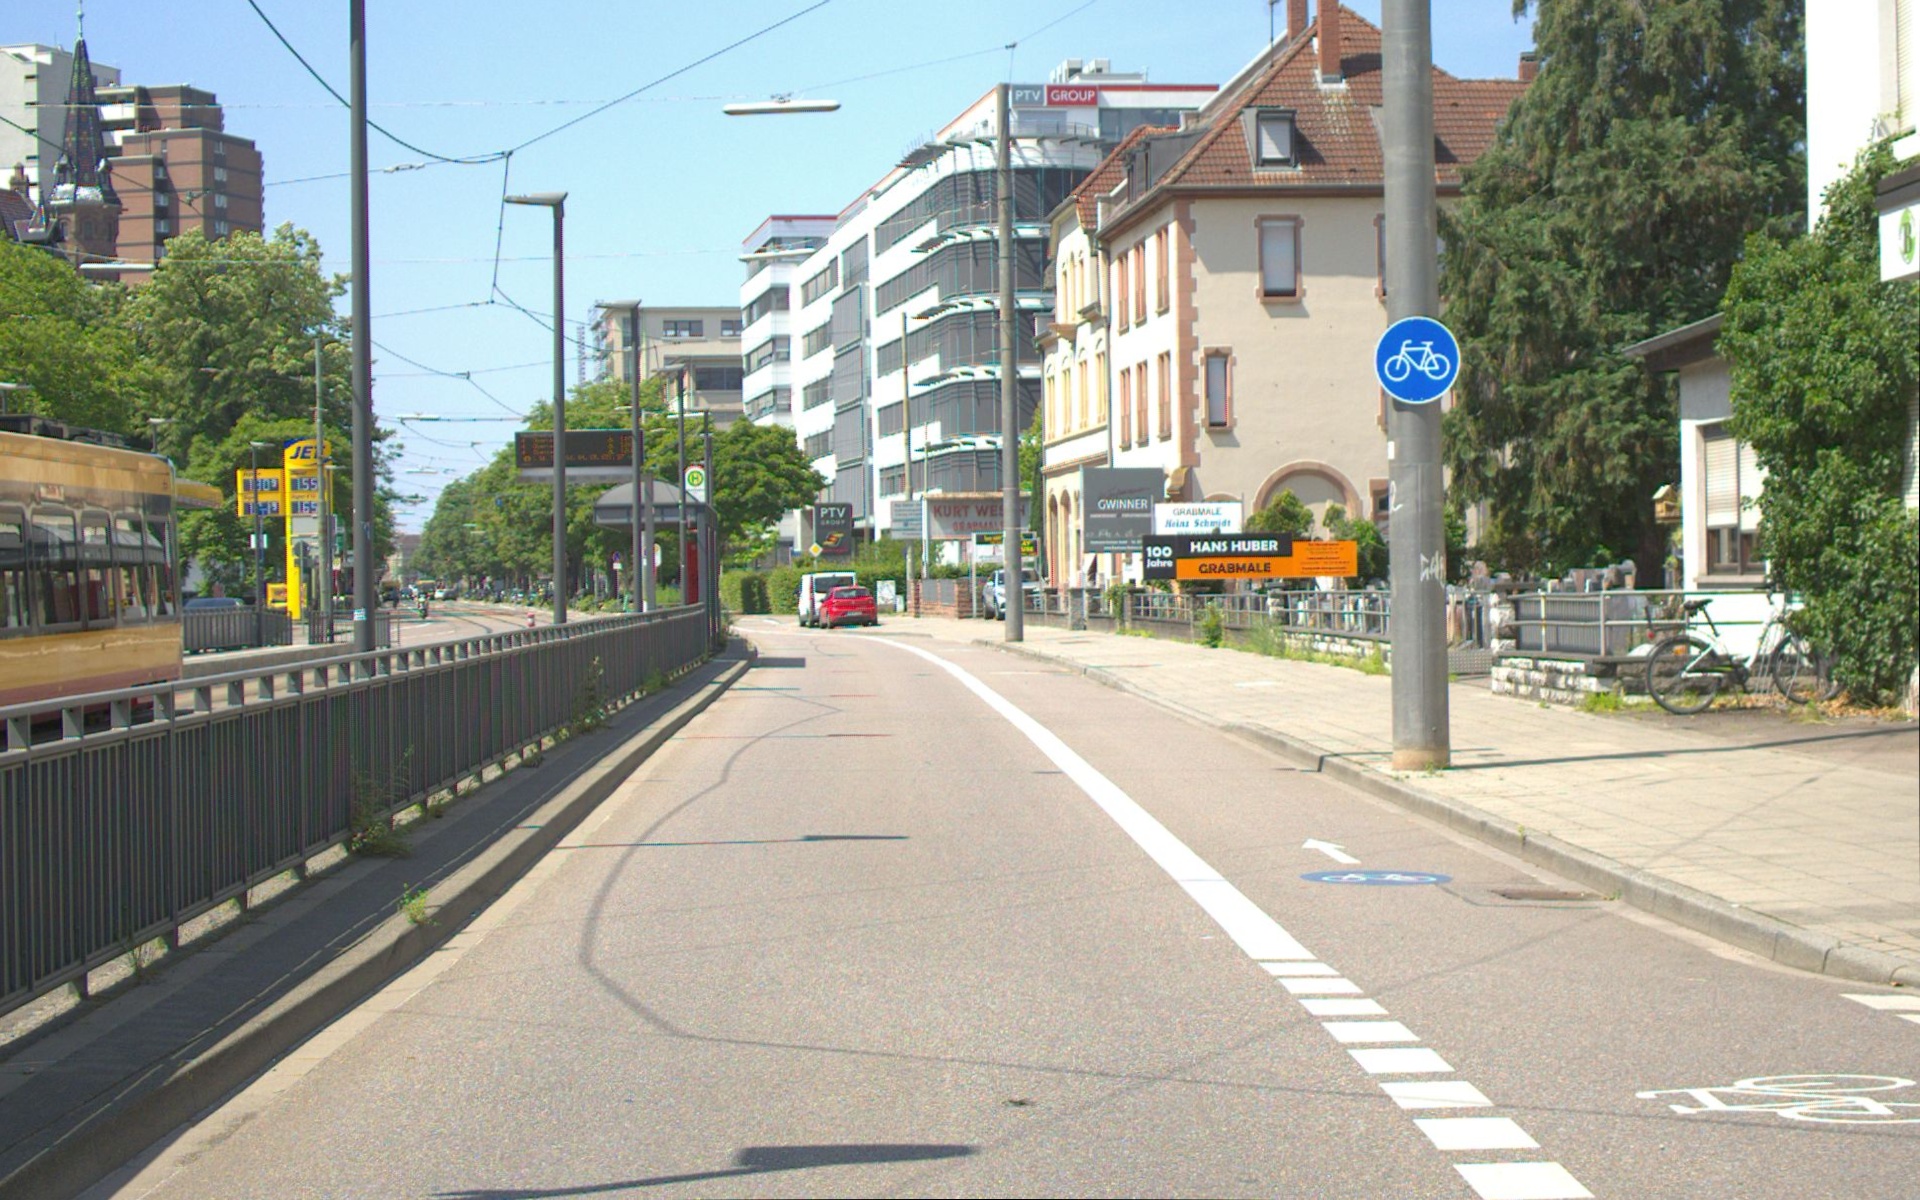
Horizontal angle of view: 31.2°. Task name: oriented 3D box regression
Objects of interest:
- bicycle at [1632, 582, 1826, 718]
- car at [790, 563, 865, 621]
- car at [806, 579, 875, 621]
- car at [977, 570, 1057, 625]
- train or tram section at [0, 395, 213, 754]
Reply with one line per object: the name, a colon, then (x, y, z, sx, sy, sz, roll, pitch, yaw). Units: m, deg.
bicycle: (6.599, 0.425, 29.542, 1.533, 1.082, 0.429, -3, 0, 5)
car: (-4.900, -0.291, 126.535, 1.993, 1.985, 5.516, -3, 1, -9)
car: (-4.181, 0.002, 119.912, 1.993, 1.437, 4.017, -1, 0, -7)
car: (1.800, -0.071, 110.558, 1.877, 1.619, 4.640, -4, 0, -6)
train or tram section: (-11.215, -0.220, 36.939, 3.235, 3.555, 16.350, -1, 0, -2)
